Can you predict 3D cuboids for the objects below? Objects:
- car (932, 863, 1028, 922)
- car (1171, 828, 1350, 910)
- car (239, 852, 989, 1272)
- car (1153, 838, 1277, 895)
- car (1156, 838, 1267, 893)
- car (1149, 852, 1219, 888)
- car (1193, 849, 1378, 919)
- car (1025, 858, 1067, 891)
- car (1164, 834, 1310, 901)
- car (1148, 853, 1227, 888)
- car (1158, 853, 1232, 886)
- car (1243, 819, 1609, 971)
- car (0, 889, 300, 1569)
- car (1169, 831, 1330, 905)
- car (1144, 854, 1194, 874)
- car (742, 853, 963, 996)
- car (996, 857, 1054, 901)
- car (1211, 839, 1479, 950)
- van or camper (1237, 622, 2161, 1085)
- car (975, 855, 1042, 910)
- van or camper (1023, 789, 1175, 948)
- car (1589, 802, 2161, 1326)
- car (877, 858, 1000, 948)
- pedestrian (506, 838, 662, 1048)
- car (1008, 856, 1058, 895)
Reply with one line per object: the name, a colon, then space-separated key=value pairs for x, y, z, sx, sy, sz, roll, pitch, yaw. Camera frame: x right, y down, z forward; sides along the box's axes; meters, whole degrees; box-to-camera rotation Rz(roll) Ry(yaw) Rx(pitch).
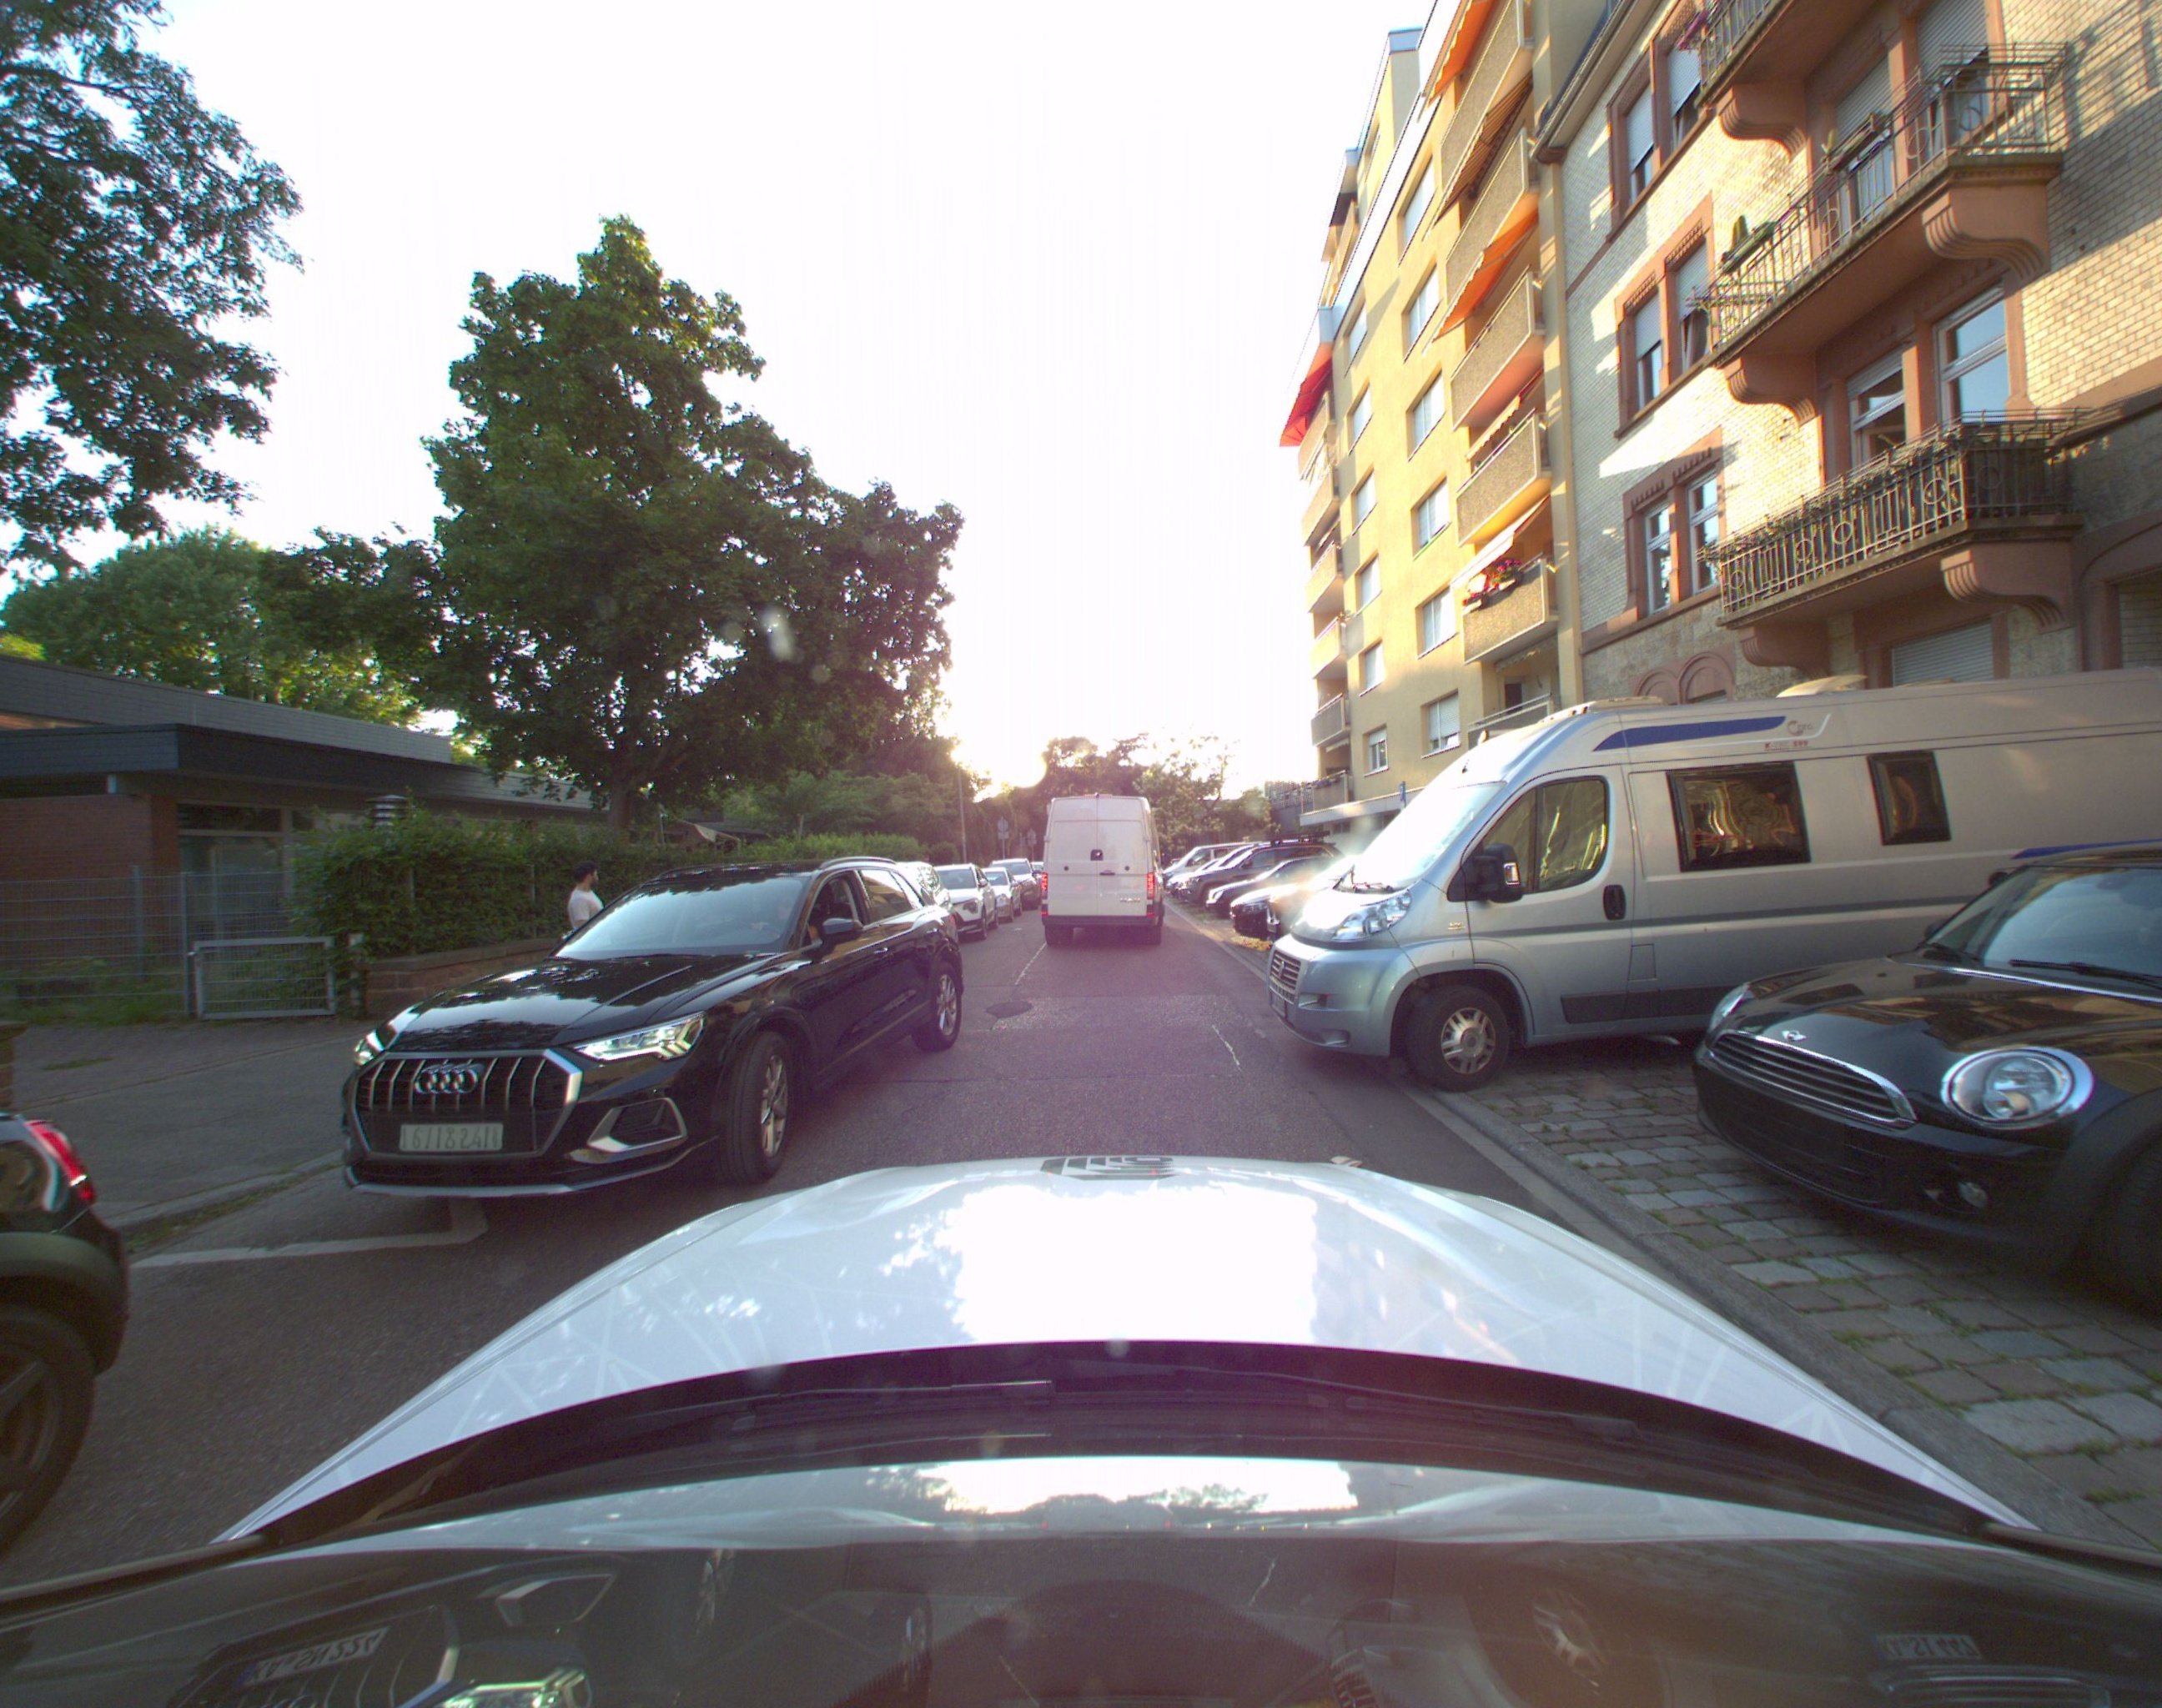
car: x=-2.647 y=0.978 z=22.314 sx=1.986 sy=1.398 sz=4.001 roll=-1 pitch=0 yaw=1
car: x=5.049 y=0.426 z=23.397 sx=4.690 sy=2.145 sz=2.000 roll=-1 pitch=0 yaw=0
car: x=-2.147 y=0.825 z=5.441 sx=1.793 sy=1.569 sz=4.577 roll=-3 pitch=-1 yaw=9
car: x=5.387 y=0.513 z=33.159 sx=4.690 sy=2.145 sz=2.000 roll=-1 pitch=0 yaw=0
car: x=5.582 y=0.505 z=35.341 sx=4.480 sy=2.230 sz=2.032 roll=-1 pitch=-1 yaw=1
car: x=6.087 y=0.919 z=48.561 sx=3.970 sy=2.014 sz=2.002 roll=-1 pitch=0 yaw=3
car: x=5.106 y=0.738 z=20.724 sx=4.222 sy=1.425 sz=1.719 roll=-4 pitch=-1 yaw=1
car: x=-1.774 y=1.039 z=42.769 sx=1.987 sy=1.618 sz=4.000 roll=-1 pitch=0 yaw=0
car: x=5.358 y=0.444 z=28.479 sx=4.690 sy=2.145 sz=2.000 roll=-1 pitch=0 yaw=0
car: x=5.597 y=0.861 z=43.211 sx=3.971 sy=1.728 sz=2.001 roll=-1 pitch=-1 yaw=2
car: x=6.415 y=0.869 z=46.232 sx=3.971 sy=1.728 sz=2.001 roll=-1 pitch=-1 yaw=2
car: x=4.745 y=0.524 z=11.565 sx=4.427 sy=1.728 sz=1.769 roll=-3 pitch=0 yaw=-5
car: x=-3.315 y=0.890 z=0.491 sx=1.630 sy=1.478 sz=3.995 roll=-4 pitch=0 yaw=3
car: x=5.291 y=0.434 z=26.051 sx=4.690 sy=2.145 sz=2.000 roll=-1 pitch=0 yaw=0
car: x=7.385 y=0.838 z=68.501 sx=3.977 sy=1.618 sz=1.998 roll=-1 pitch=0 yaw=-2
car: x=-3.096 y=0.879 z=11.990 sx=1.775 sy=1.631 sz=4.004 roll=-4 pitch=-1 yaw=4
car: x=-2.168 y=0.953 z=32.740 sx=1.987 sy=1.618 sz=4.000 roll=-1 pitch=0 yaw=0
car: x=4.460 y=0.655 z=14.162 sx=3.978 sy=1.454 sz=1.834 roll=-5 pitch=0 yaw=-3
van or camper: x=4.338 y=-0.005 z=6.119 sx=5.908 sy=2.770 sz=2.110 roll=-1 pitch=-1 yaw=0
car: x=-2.374 y=0.913 z=27.534 sx=1.988 sy=1.662 sz=3.996 roll=-1 pitch=0 yaw=-2
van or camper: x=0.607 y=0.247 z=16.222 sx=2.441 sy=2.547 sz=6.093 roll=0 pitch=0 yaw=6
car: x=4.601 y=0.521 z=3.242 sx=3.919 sy=1.486 sz=1.788 roll=-5 pitch=-2 yaw=2
car: x=-2.859 y=0.930 z=17.217 sx=1.851 sy=1.555 sz=4.098 roll=-4 pitch=0 yaw=-1
pedestrian: x=-4.587 y=0.783 z=7.575 sx=0.934 sy=1.830 sz=0.787 roll=-1 pitch=-1 yaw=0
car: x=-2.136 y=0.929 z=37.055 sx=1.987 sy=1.618 sz=4.000 roll=-1 pitch=0 yaw=0
